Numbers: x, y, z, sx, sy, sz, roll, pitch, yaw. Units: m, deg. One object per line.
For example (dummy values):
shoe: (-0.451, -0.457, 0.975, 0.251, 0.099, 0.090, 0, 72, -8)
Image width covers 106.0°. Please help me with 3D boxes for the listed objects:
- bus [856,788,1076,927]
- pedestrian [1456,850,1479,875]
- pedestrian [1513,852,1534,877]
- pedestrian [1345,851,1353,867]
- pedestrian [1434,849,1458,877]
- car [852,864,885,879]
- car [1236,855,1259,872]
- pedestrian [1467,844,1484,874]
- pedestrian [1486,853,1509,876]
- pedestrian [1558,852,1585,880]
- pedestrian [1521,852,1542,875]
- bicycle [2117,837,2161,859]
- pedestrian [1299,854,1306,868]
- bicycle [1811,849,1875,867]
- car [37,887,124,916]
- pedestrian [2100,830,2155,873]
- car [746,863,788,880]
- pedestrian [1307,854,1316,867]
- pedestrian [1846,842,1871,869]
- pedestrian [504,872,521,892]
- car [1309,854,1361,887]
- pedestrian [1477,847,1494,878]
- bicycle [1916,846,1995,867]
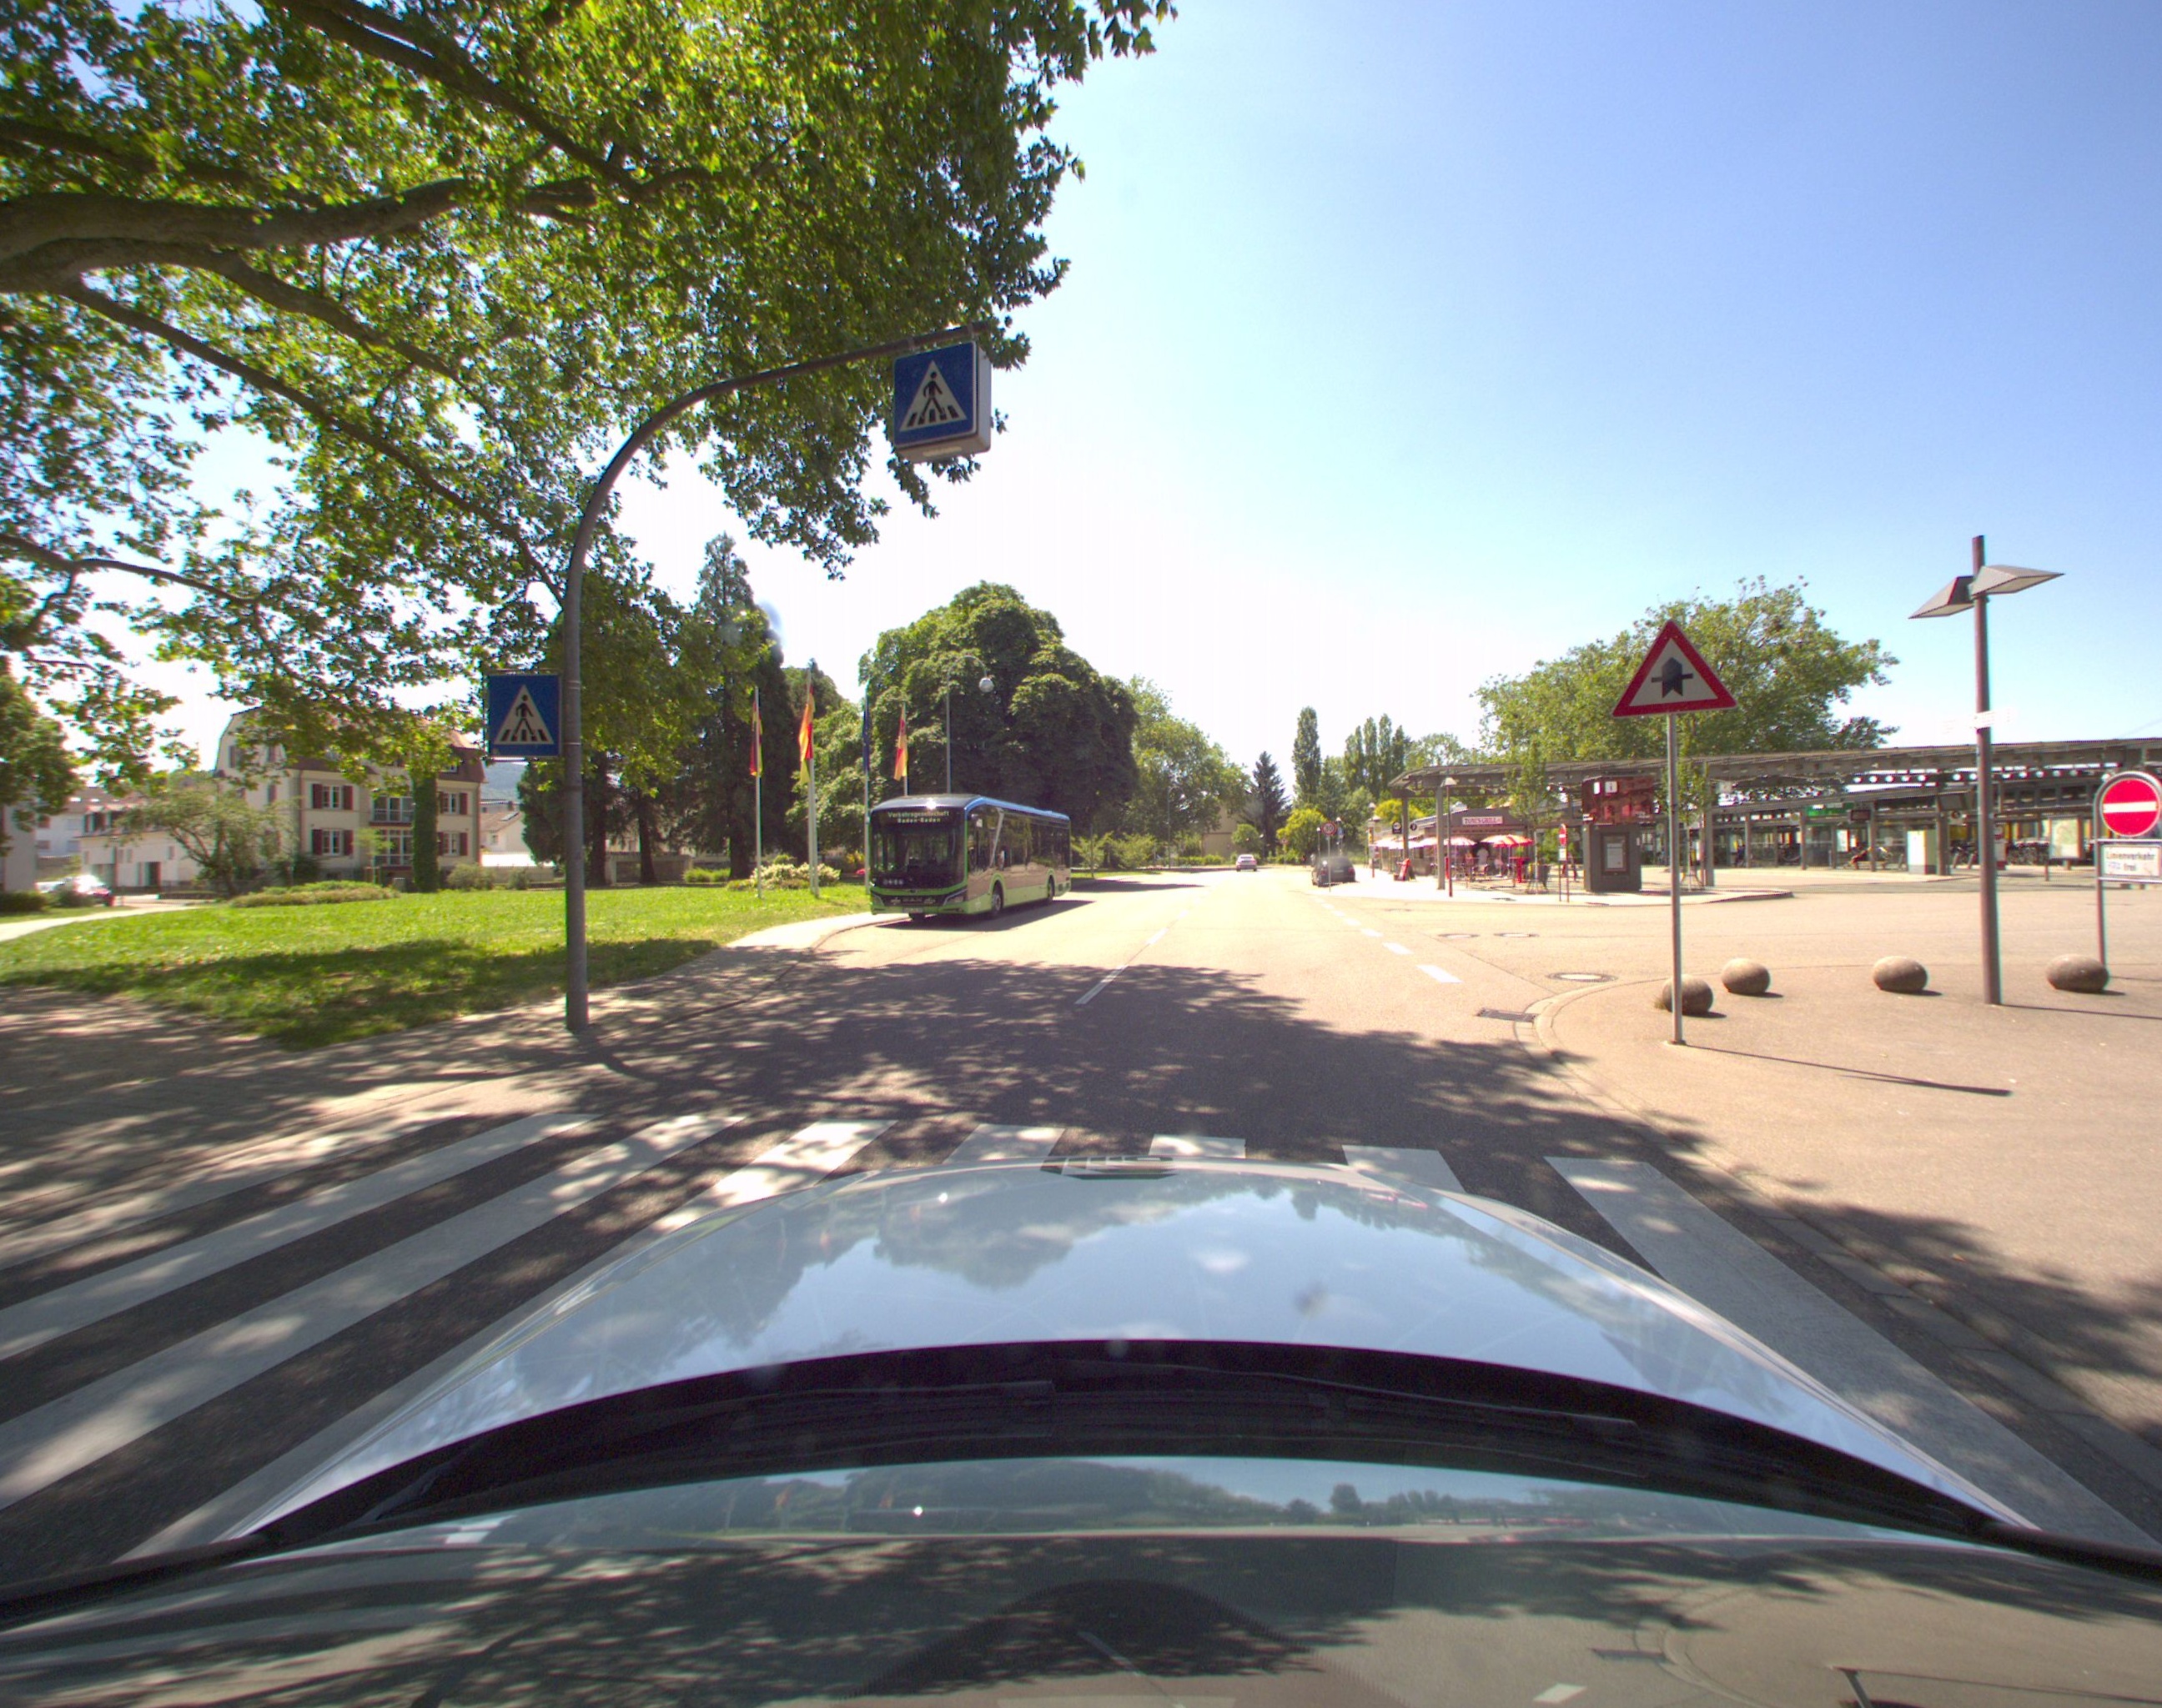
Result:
bus: (-2.834, 0.084, 25.598, 2.790, 3.283, 12.464, -1, 0, 11)
pedestrian: (20.731, 0.455, 43.649, 0.896, 1.312, 0.683, -1, -1, -23)
pedestrian: (21.363, 0.512, 39.310, 0.681, 1.161, 0.899, -1, 0, 16)
pedestrian: (32.745, 0.632, 99.618, 0.846, 1.965, 0.810, -1, -1, 23)
pedestrian: (18.993, 0.465, 42.362, 0.896, 1.418, 0.682, -1, -1, -26)
car: (-26.600, 2.170, 101.913, 1.854, 1.838, 4.021, 1, -1, 22)
car: (16.412, 0.913, 80.277, 1.968, 1.627, 4.796, -1, 0, 14)
pedestrian: (22.624, 0.295, 46.709, 0.682, 1.738, 0.709, -1, -1, 11)
pedestrian: (22.138, 0.557, 43.271, 0.896, 1.161, 0.683, -1, -1, -23)
pedestrian: (22.345, 0.546, 37.126, 0.839, 1.277, 0.898, -1, 0, 16)
pedestrian: (23.610, 0.489, 42.691, 0.754, 1.205, 0.739, 1, -1, 11)
bicycle: (50.241, -0.260, 37.773, 2.770, 1.004, 0.969, 1, -1, 9)
pedestrian: (26.156, 0.783, 96.171, 0.629, 1.650, 0.755, -1, -3, 39)
bicycle: (44.487, 0.232, 47.578, 2.770, 1.004, 0.813, 1, -1, 9)
car: (-59.998, 2.849, 48.865, 3.954, 1.583, 2.009, -3, -2, 18)
pedestrian: (39.443, -0.082, 30.711, 0.919, 1.590, 0.857, -1, 0, 2)
car: (-33.619, 1.911, 87.202, 1.854, 1.752, 4.021, 1, -1, 22)
pedestrian: (27.631, 0.785, 97.637, 0.713, 1.650, 0.755, -1, -3, 39)
pedestrian: (40.702, 0.072, 42.654, 0.621, 1.395, 0.678, -3, -2, 11)
pedestrian: (-37.876, 1.866, 54.279, 0.829, 1.371, 0.612, 2, -1, -29)
car: (12.788, 0.790, 41.321, 1.914, 1.460, 4.739, -4, -1, 11)
pedestrian: (22.467, 0.477, 45.229, 0.682, 1.738, 0.709, -1, -1, 11)
bicycle: (43.342, 0.133, 40.394, 2.770, 1.004, 0.813, 1, -1, 9)
